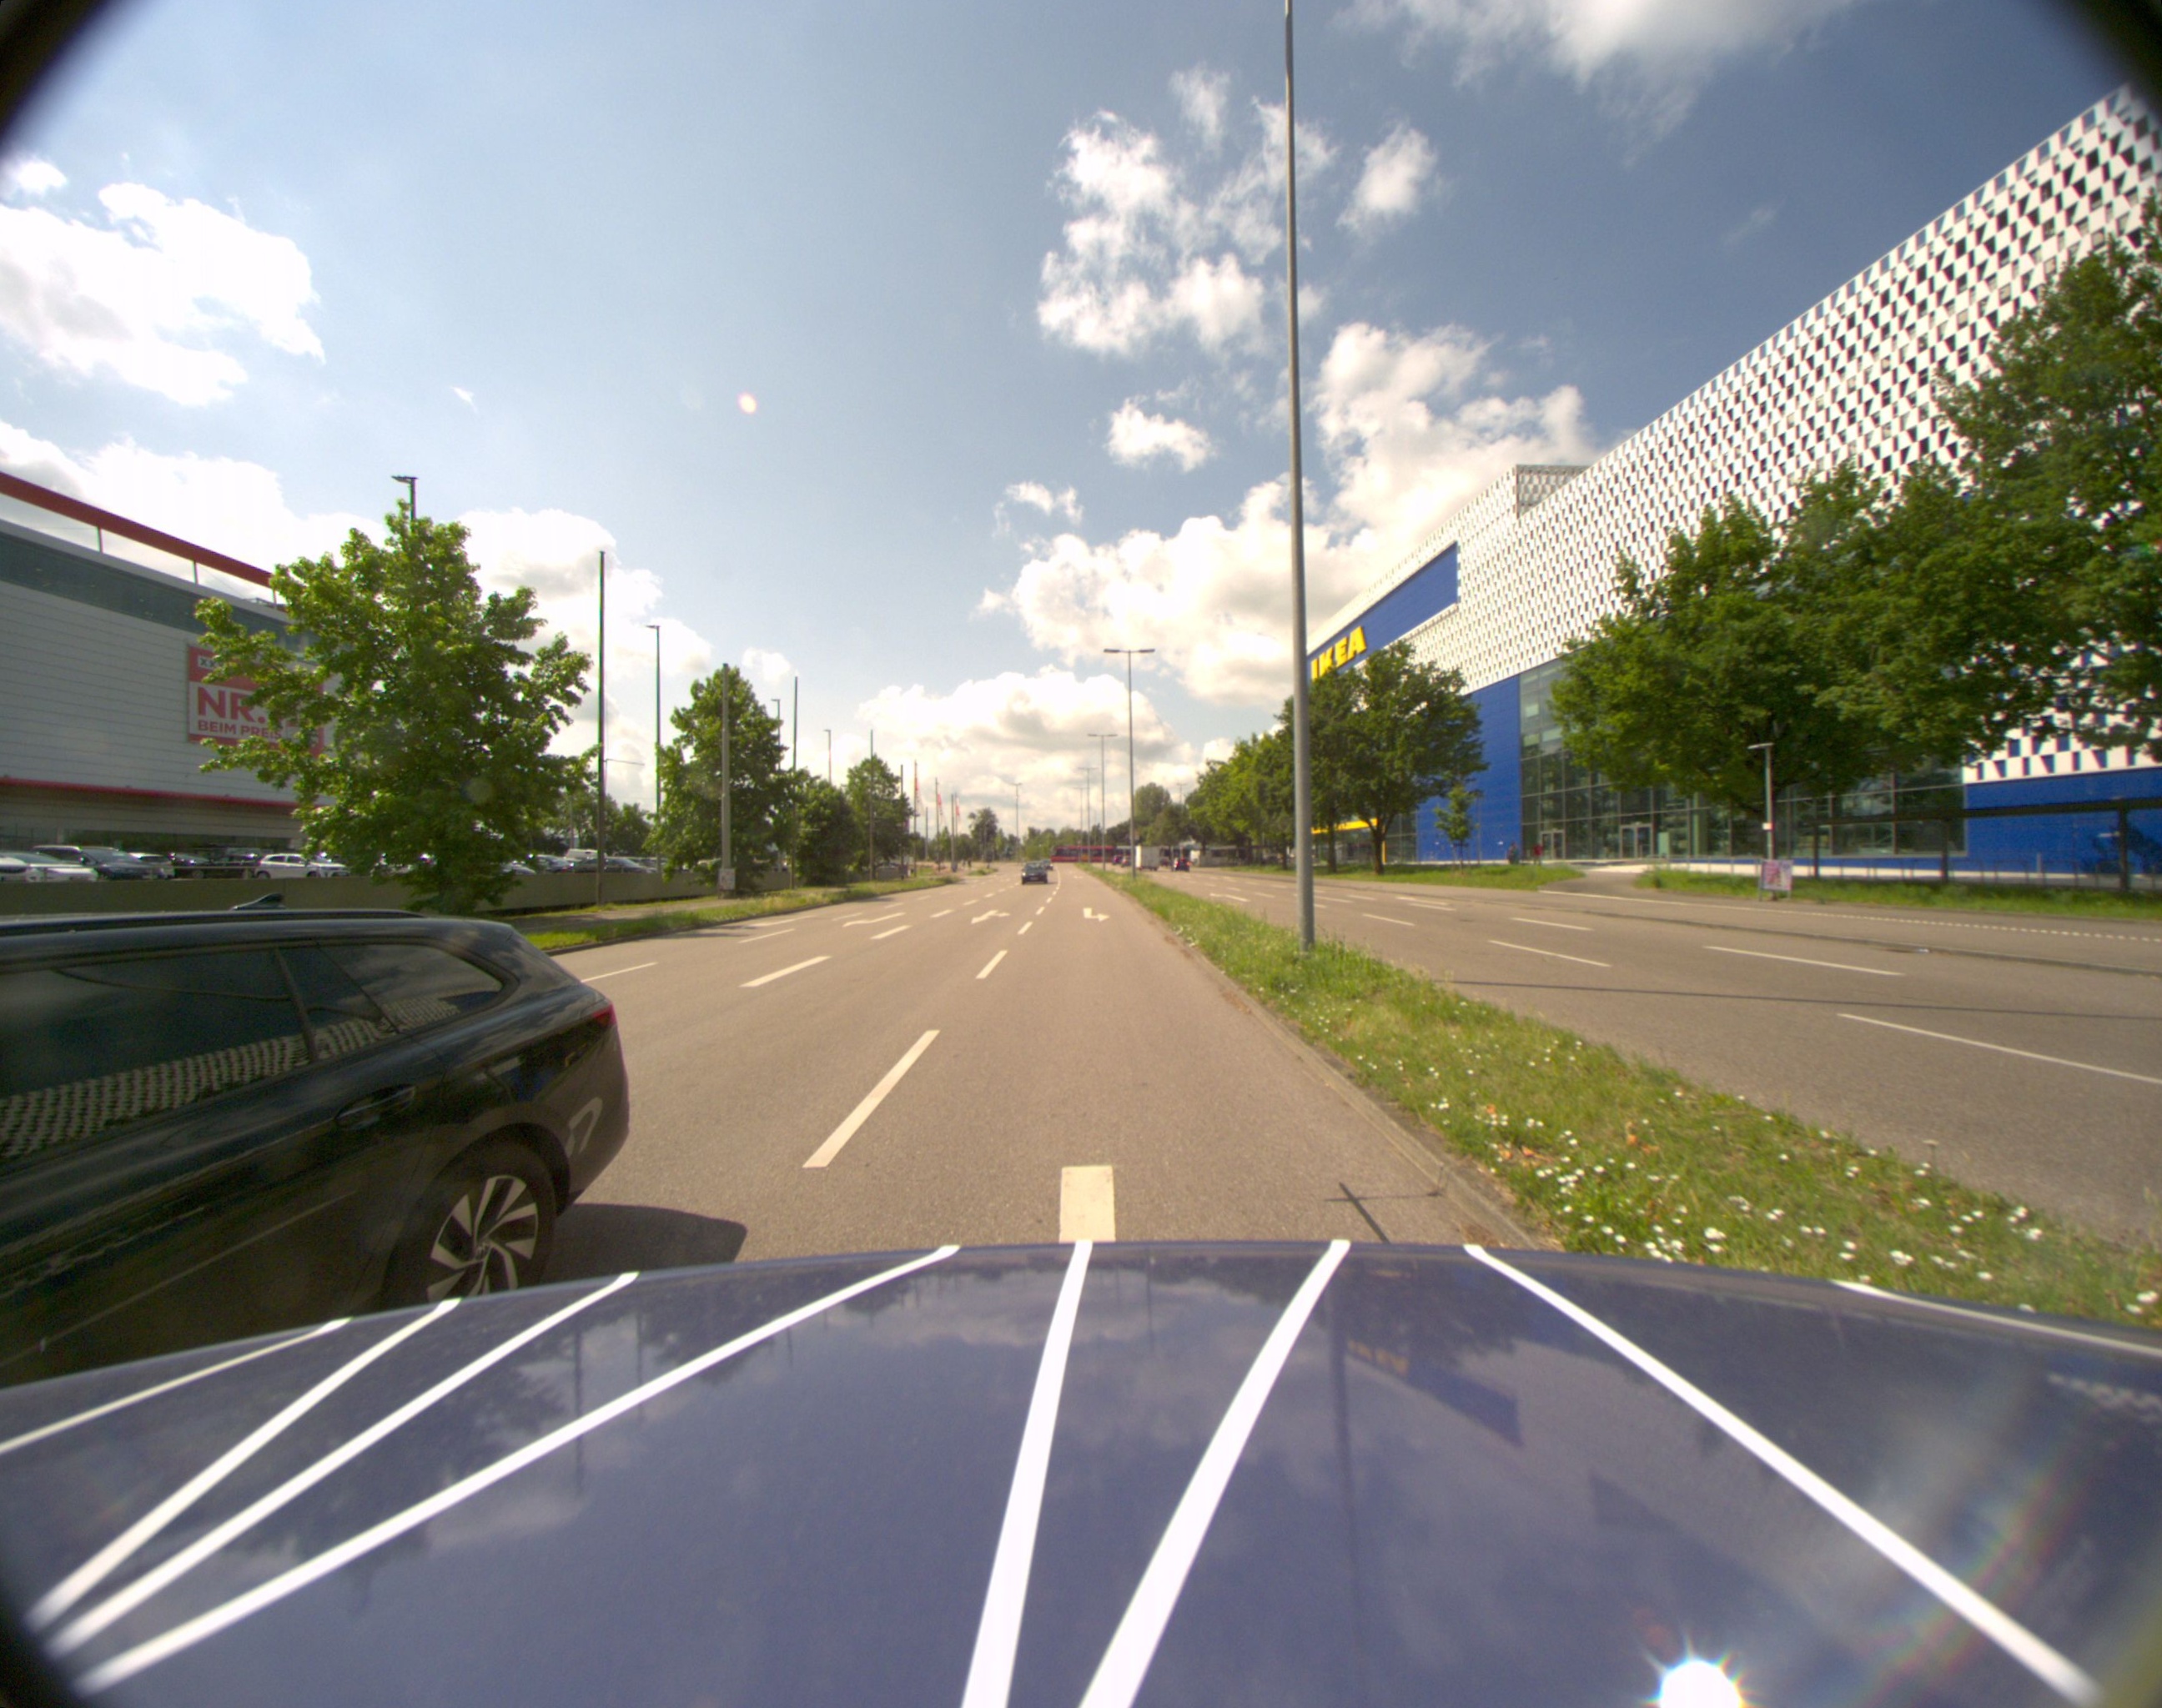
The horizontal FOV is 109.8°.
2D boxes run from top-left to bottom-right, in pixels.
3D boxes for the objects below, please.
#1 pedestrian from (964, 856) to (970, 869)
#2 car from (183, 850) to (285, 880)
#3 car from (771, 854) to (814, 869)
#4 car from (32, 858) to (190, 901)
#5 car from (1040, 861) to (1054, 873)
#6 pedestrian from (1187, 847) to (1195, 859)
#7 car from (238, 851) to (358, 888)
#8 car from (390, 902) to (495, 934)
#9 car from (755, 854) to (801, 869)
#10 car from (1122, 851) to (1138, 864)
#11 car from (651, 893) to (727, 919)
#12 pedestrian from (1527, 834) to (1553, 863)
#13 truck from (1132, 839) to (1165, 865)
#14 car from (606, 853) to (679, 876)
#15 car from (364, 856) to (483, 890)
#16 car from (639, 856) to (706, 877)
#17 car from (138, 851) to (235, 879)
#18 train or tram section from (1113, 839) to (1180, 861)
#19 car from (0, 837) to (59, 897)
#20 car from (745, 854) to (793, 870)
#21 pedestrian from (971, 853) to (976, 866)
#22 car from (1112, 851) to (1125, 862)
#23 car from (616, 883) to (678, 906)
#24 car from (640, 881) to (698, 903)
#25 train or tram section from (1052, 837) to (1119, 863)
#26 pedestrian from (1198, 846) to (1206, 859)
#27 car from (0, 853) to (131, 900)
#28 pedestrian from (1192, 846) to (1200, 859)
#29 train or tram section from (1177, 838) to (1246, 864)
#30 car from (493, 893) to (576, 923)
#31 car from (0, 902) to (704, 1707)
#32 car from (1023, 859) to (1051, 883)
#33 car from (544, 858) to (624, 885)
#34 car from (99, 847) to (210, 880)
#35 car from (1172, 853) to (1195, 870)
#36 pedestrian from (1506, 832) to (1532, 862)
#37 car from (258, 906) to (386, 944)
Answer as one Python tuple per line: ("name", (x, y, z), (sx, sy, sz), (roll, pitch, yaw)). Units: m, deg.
("pedestrian", (-15.715, 1.139, 104.860), (0.704, 1.803, 0.545), (-2, 1, -12))
("car", (-49.760, 0.638, 44.667), (4.416, 1.596, 1.956), (-2, 0, 11))
("car", (-34.592, 0.898, 91.104), (4.420, 1.596, 1.955), (-2, 0, -1))
("car", (-39.301, 1.017, 30.835), (4.417, 1.596, 1.956), (-2, 0, 8))
("car", (-4.337, 1.668, 98.406), (1.606, 1.521, 4.270), (-1, 0, 0))
("pedestrian", (18.936, -0.218, 130.857), (0.817, 2.082, 1.041), (-1, 2, 42))
("car", (-40.929, 0.789, 39.791), (4.421, 1.754, 1.559), (-2, 1, -3))
("car", (-37.538, 3.757, 44.733), (4.421, 1.596, 1.954), (-2, 0, -2))
("car", (-34.436, 0.870, 86.531), (4.420, 1.596, 1.955), (-2, 0, -1))
("car", (6.731, 0.507, 104.796), (1.941, 1.674, 4.000), (-2, 1, 1))
("car", (-28.485, 3.760, 55.338), (4.420, 1.596, 1.955), (-2, 0, -1))
("pedestrian", (27.516, -0.336, 45.550), (0.854, 1.718, 1.165), (-2, 1, 3))
("truck", (7.713, -0.229, 87.155), (2.972, 2.736, 5.782), (-2, 1, -2))
("car", (-33.298, 0.749, 57.781), (4.420, 1.596, 1.955), (-2, 0, -1))
("car", (-34.294, 0.989, 39.718), (4.420, 1.596, 1.955), (-2, 0, -1))
("car", (-33.557, 1.040, 62.530), (4.420, 1.596, 1.955), (-2, 0, -1))
("car", (-55.191, 0.666, 46.903), (4.416, 1.596, 1.956), (-2, 0, 11))
("train or tram section", (13.069, -0.870, 152.964), (13.099, 4.346, 3.731), (0, 1, -2))
("car", (-34.540, 0.461, 23.302), (3.997, 1.783, 1.749), (-2, 1, 1))
("car", (-34.093, 0.826, 83.064), (4.420, 1.596, 1.955), (-2, 0, -1))
("pedestrian", (-14.852, 0.765, 104.987), (0.527, 1.803, 0.677), (-2, 1, -9))
("car", (6.231, 0.363, 125.302), (1.941, 1.674, 4.000), (-2, 1, 1))
("car", (-37.906, 3.536, 66.390), (4.421, 1.754, 1.559), (-2, 1, -3))
("car", (-38.067, 3.540, 70.298), (4.421, 1.754, 1.559), (-2, 1, -3))
("train or tram section", (0.781, -0.854, 152.545), (13.098, 4.534, 3.731), (-2, 1, -2))
("pedestrian", (20.564, -0.263, 129.327), (0.817, 2.082, 1.041), (-1, 2, 42))
("car", (-38.525, 0.829, 28.253), (4.417, 1.596, 1.956), (-2, 0, 8))
("pedestrian", (19.638, -0.237, 130.123), (0.817, 2.082, 1.041), (-1, 2, 42))
("train or tram section", (26.254, -0.564, 153.408), (13.098, 4.646, 3.731), (-2, 1, -2))
("car", (-37.376, 3.676, 52.026), (4.421, 1.754, 1.559), (-2, 1, -3))
("car", (-2.803, 1.001, 1.156), (1.813, 1.469, 5.204), (-2, 0, 0))
("car", (-2.958, 1.138, 51.514), (1.606, 1.521, 4.270), (-1, 0, 0))
("car", (-32.626, 1.134, 49.957), (3.996, 1.595, 1.778), (-2, 1, 2))
("car", (-48.934, 0.502, 40.149), (4.415, 1.596, 1.957), (-2, 0, 14))
("car", (11.273, 0.803, 83.855), (1.941, 1.674, 4.000), (-2, 1, 1))
("pedestrian", (26.380, -0.435, 45.773), (0.854, 1.718, 1.165), (-2, 1, 3))
("car", (-37.214, 3.456, 37.331), (4.419, 1.596, 1.955), (-2, 0, 3))
